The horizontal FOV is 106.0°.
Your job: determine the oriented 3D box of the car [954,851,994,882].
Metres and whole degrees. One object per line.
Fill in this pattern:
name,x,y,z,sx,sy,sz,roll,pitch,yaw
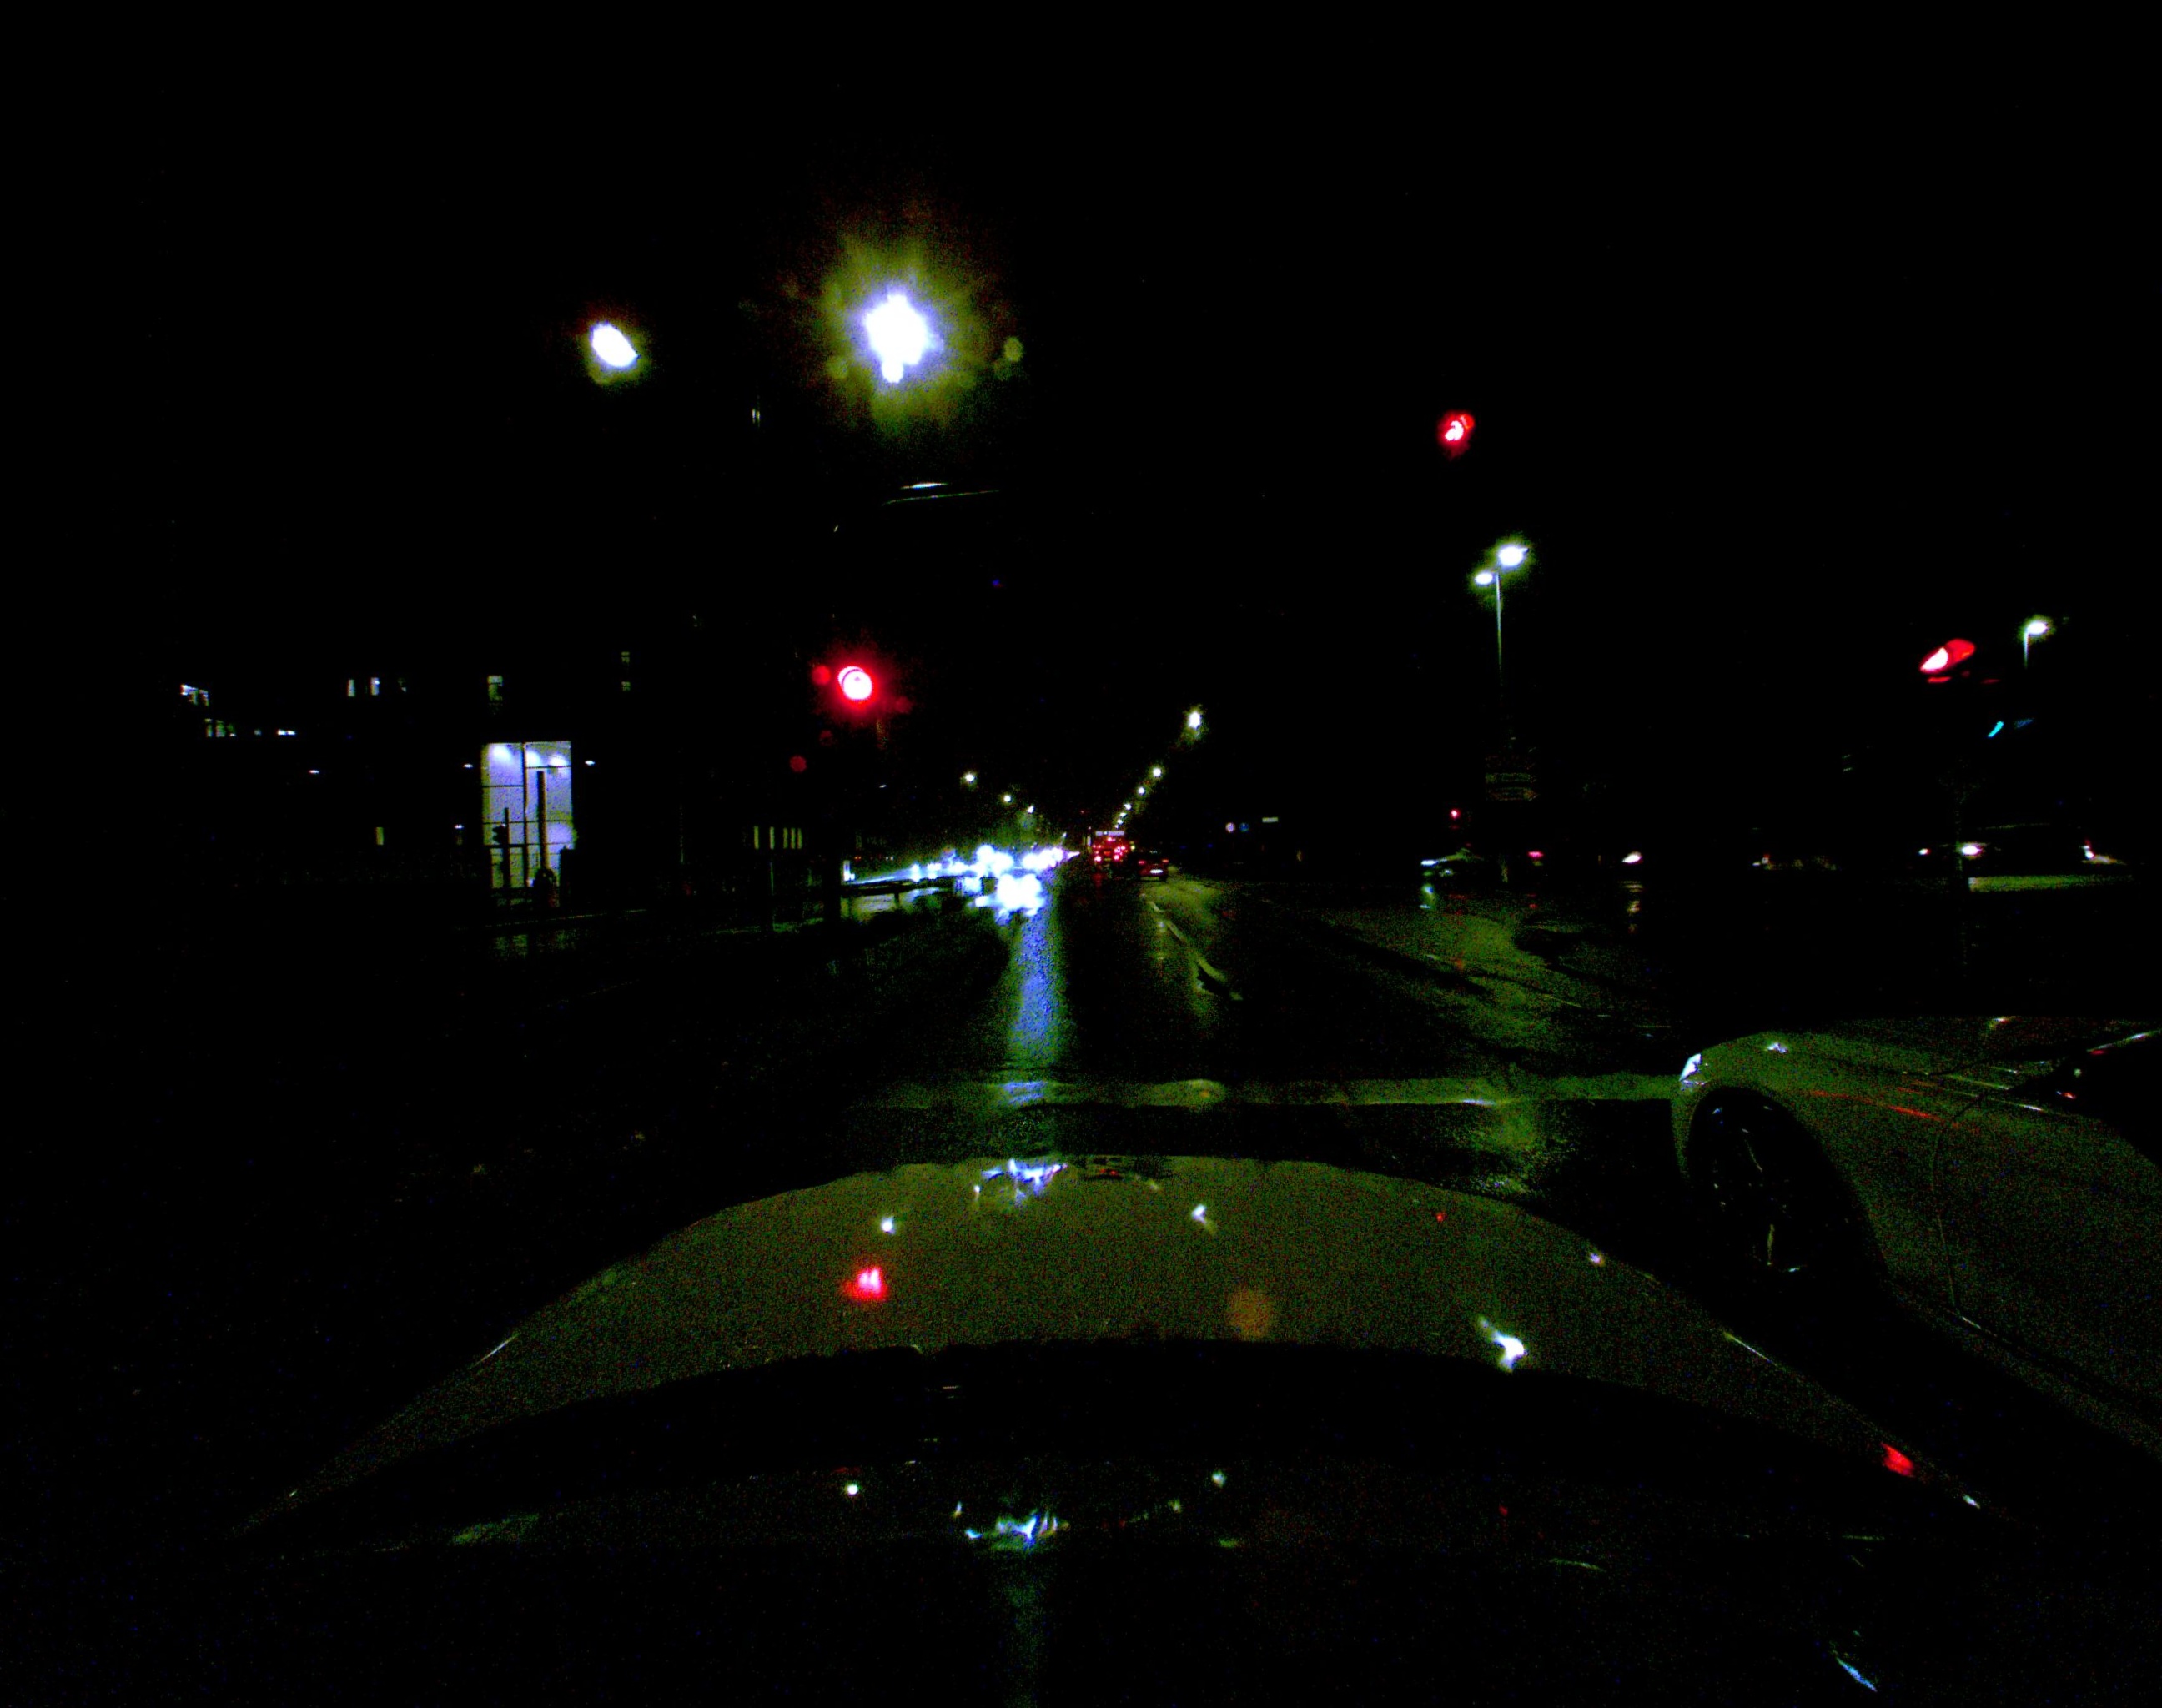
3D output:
car,-6.685,0.755,51.358,1.776,1.816,4.002,-2,-1,2

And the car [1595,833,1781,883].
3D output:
car,20.743,0.154,28.014,4.823,1.590,1.857,-1,-1,8

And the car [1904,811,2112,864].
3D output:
car,30.624,-0.516,27.052,4.311,1.590,1.858,-1,-1,10

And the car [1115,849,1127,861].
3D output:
car,7.201,0.217,146.915,2.200,2.215,3.644,-1,-1,2

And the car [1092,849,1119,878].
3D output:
car,1.599,0.603,53.949,1.676,1.838,3.428,-1,-1,0

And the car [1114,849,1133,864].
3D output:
car,5.330,0.325,102.258,1.898,1.780,3.996,-1,-1,-3

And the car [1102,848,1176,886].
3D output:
car,2.821,0.635,40.671,1.986,1.755,4.320,-1,-1,-22

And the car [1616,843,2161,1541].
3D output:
car,3.144,0.712,1.276,1.714,1.446,4.383,-3,-1,1

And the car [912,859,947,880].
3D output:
car,-12.252,1.216,66.088,1.840,1.590,4.354,-1,-1,2

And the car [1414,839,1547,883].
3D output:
car,15.494,0.294,31.791,4.311,1.590,1.858,-1,-1,10

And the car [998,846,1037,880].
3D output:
car,-4.019,0.561,52.069,1.986,2.014,4.001,-2,0,2
